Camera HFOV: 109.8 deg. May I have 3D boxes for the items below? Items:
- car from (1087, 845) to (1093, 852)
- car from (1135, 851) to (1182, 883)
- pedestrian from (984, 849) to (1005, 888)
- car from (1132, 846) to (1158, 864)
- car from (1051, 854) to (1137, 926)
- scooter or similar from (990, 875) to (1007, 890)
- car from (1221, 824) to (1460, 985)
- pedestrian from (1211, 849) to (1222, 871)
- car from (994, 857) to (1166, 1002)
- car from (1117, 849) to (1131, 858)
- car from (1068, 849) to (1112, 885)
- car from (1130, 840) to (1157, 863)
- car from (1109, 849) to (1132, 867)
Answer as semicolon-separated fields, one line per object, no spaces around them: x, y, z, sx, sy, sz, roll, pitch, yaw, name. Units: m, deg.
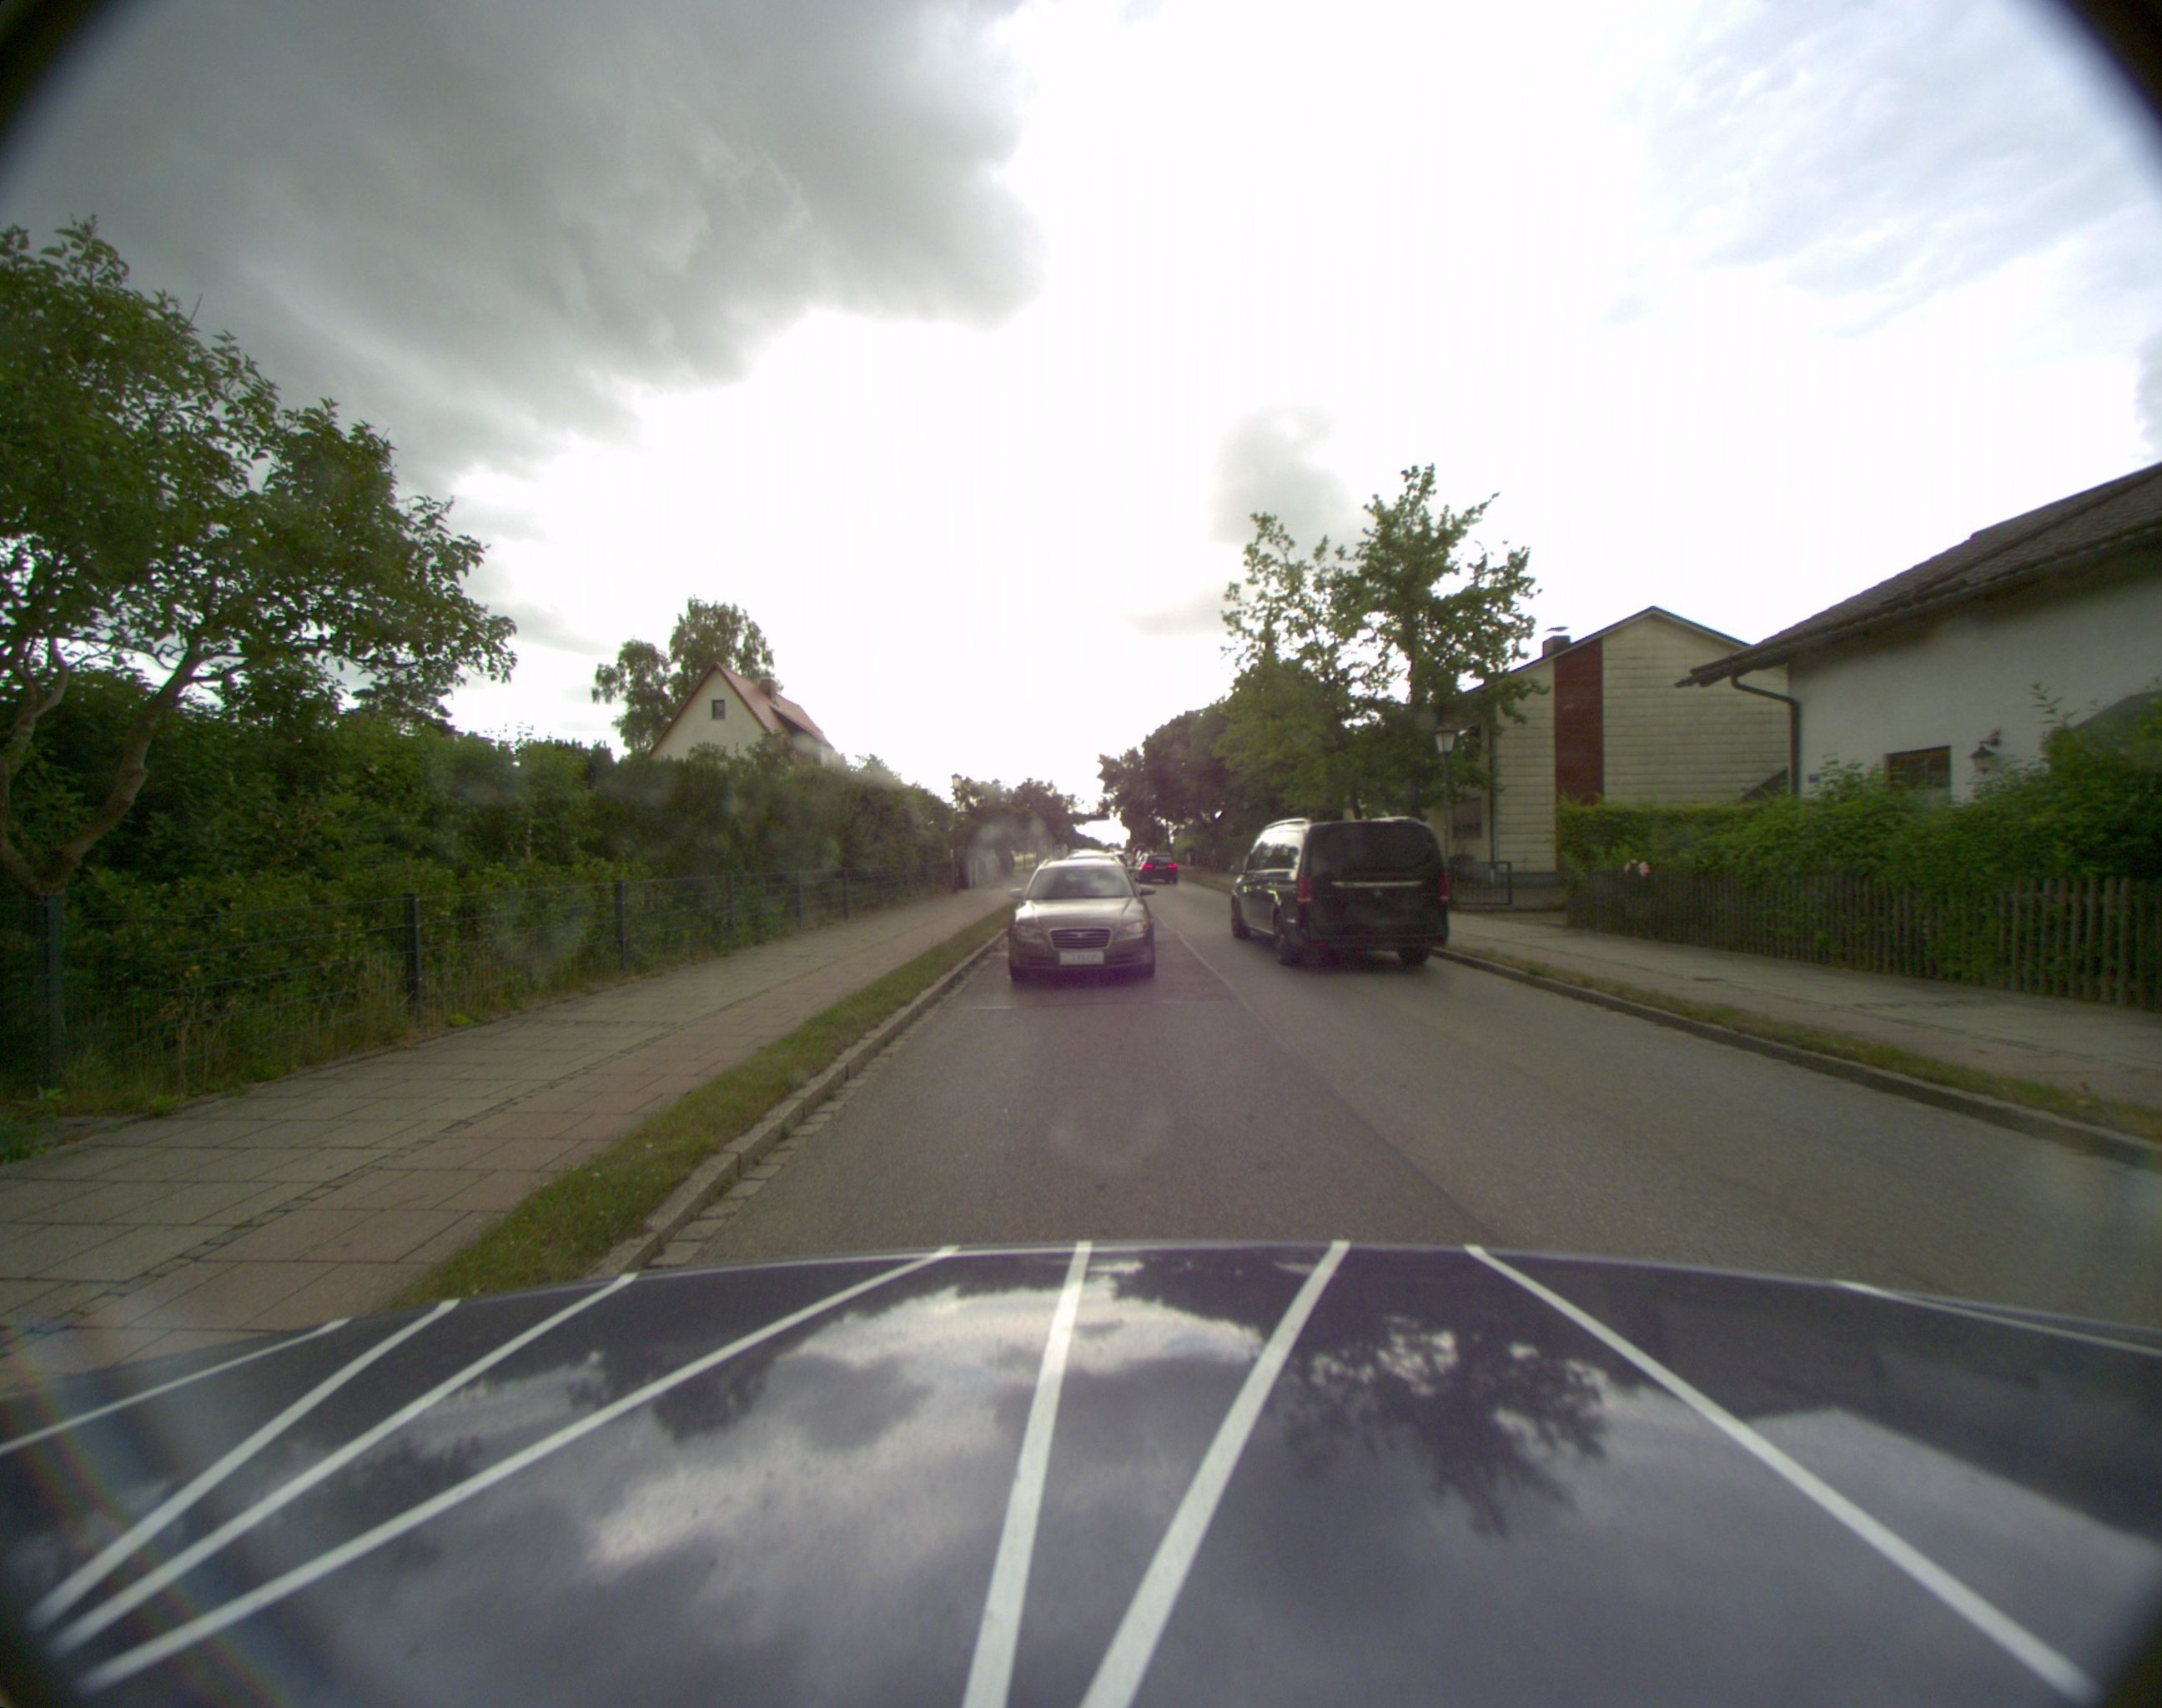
2.797;-1.667;232.685;1.998;2.002;4.000;-1;0;1;car
3.779;0.610;37.801;1.851;1.445;4.548;-1;0;0;car
-3.593;0.601;31.501;0.793;1.593;0.670;-1;1;-11;pedestrian
6.216;0.076;73.824;1.999;1.740;3.999;-1;0;-2;car
0.311;0.785;19.252;1.866;1.518;4.942;-2;0;0;car
-3.351;1.158;30.829;0.619;0.553;0.741;-1;0;-14;scooter or similar
3.452;0.563;11.254;1.969;1.842;4.947;-1;1;2;car
8.900;0.361;49.836;0.631;1.429;0.563;-1;1;1;pedestrian
0.012;0.821;10.299;1.809;1.476;4.270;-2;0;0;car
6.609;-0.045;117.009;2.029;1.362;4.000;-1;0;2;car
0.417;0.567;34.906;1.866;1.518;4.122;-2;0;0;car
6.492;-0.294;79.526;2.246;2.258;4.469;-2;0;-2;car
3.407;0.358;66.212;1.756;1.475;4.375;-2;0;0;car
